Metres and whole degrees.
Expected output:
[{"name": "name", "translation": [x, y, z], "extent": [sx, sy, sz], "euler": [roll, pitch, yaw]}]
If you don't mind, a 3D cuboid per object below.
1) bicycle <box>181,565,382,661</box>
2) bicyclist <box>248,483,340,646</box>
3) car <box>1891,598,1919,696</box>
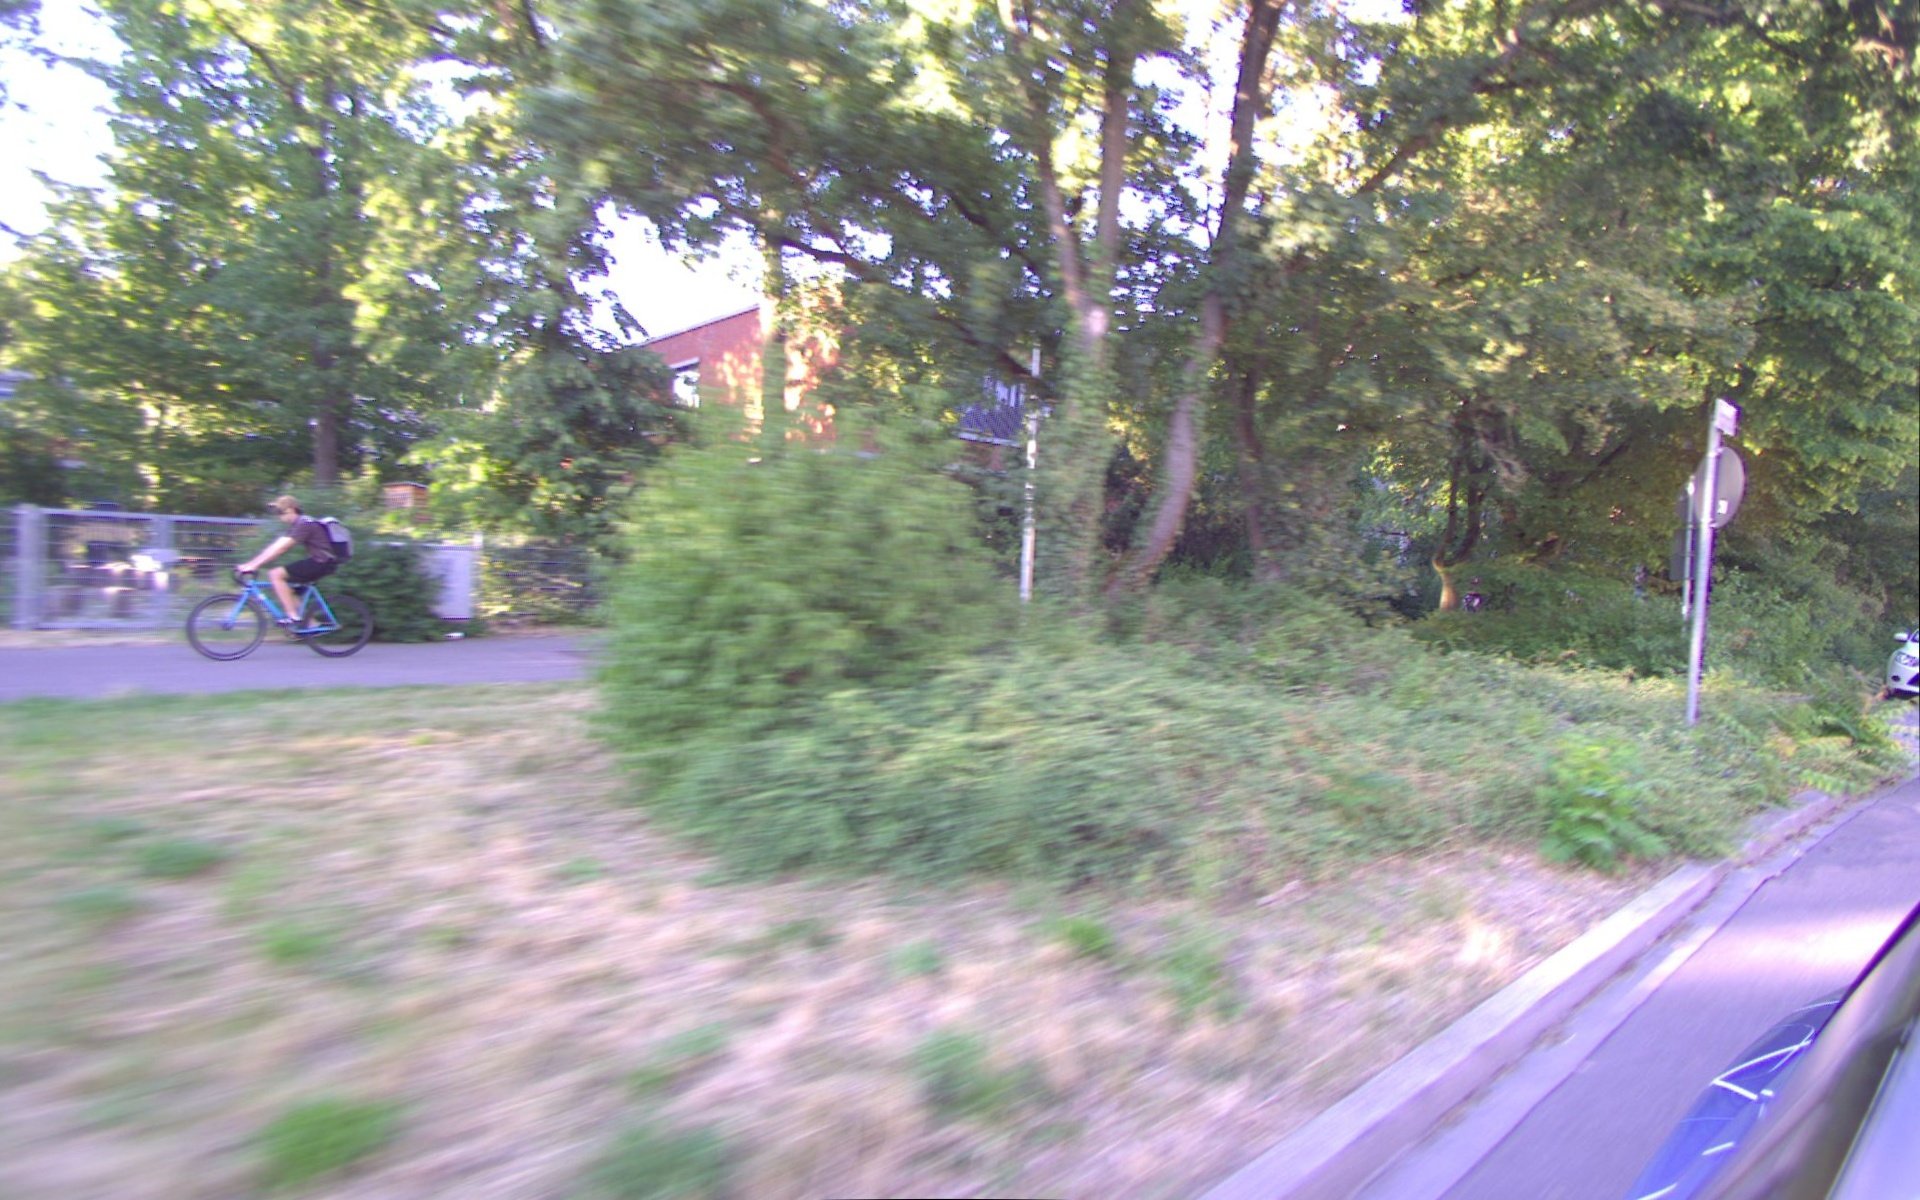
[{"name": "bicycle", "translation": [-7.165, 0.129, 10.739], "extent": [1.693, 0.929, 0.533], "euler": [1, 3, -43]}, {"name": "bicyclist", "translation": [-7.090, -0.371, 10.769], "extent": [0.712, 1.665, 0.533], "euler": [1, 2, -43]}, {"name": "car", "translation": [16.908, 0.821, 16.561], "extent": [4.100, 1.504, 1.754], "euler": [1, 4, -38]}]
